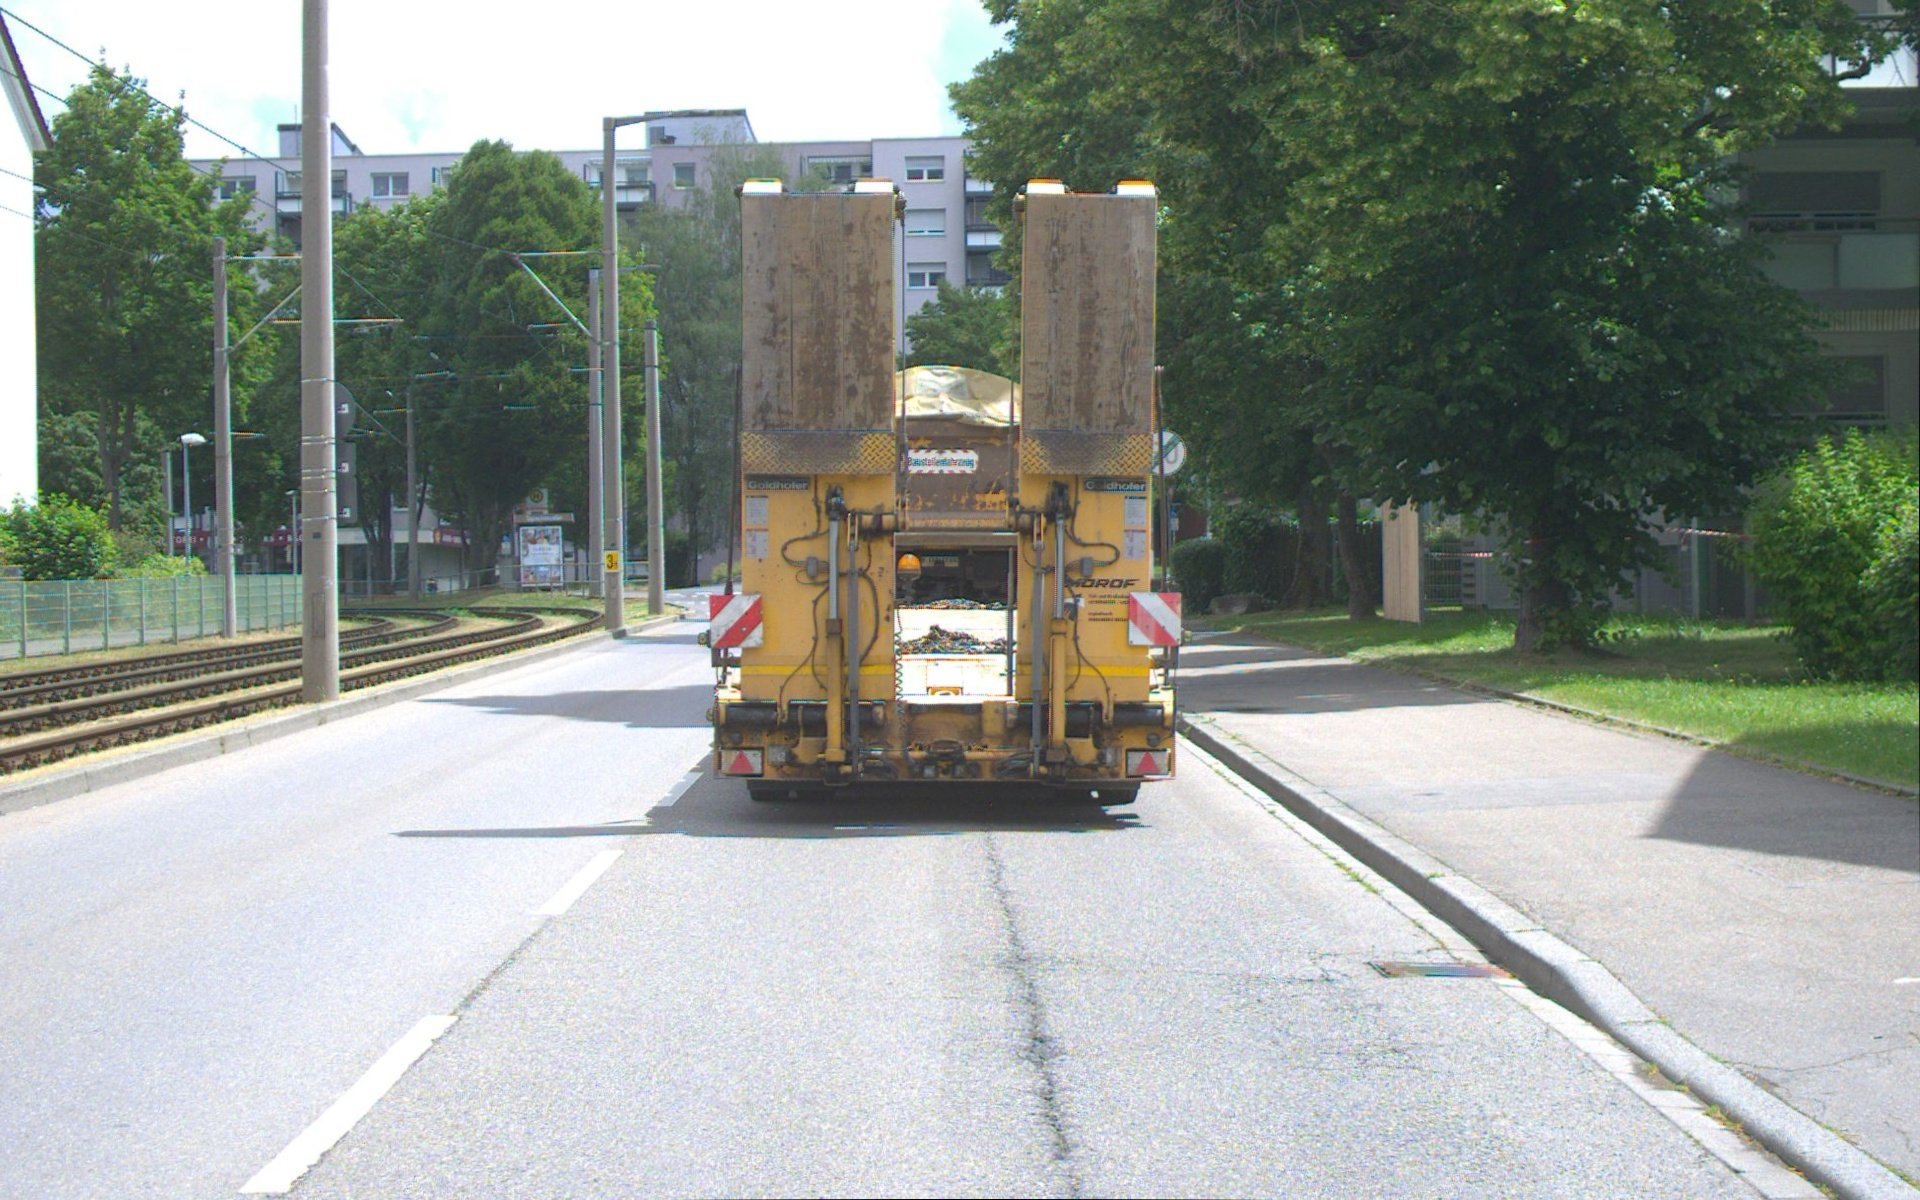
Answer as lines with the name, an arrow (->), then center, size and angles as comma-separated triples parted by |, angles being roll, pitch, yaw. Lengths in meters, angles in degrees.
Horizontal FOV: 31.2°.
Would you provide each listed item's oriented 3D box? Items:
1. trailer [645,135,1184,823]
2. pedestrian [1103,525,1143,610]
trailer -> -0.425, -0.743, 24.549 | 2.827, 3.633, 12.355 | 1, 1, -2
pedestrian -> 3.342, -0.672, 70.568 | 0.718, 1.700, 0.766 | -2, 1, 0
